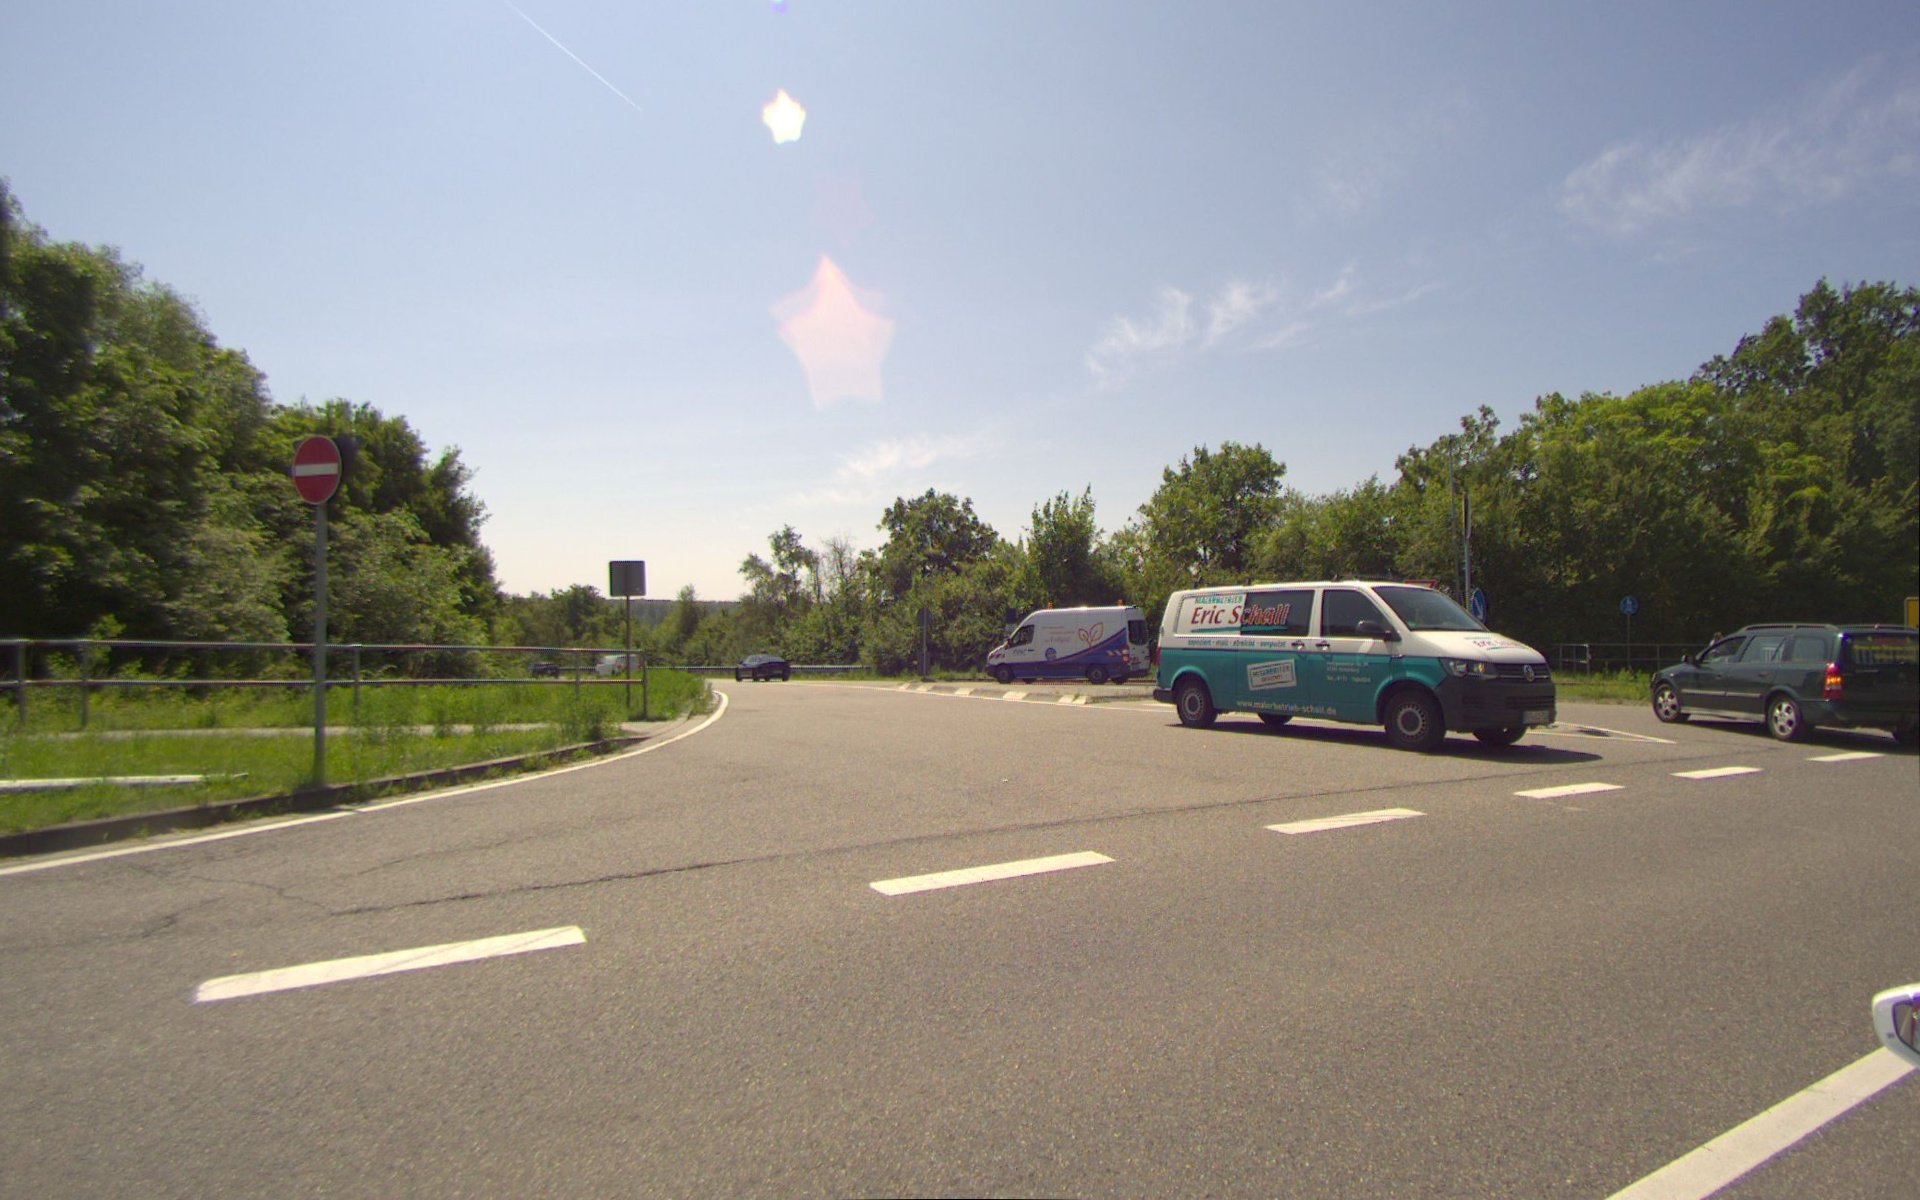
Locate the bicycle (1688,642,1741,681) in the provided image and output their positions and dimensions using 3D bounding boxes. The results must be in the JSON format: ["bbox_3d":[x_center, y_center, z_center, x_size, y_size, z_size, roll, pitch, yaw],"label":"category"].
[{"bbox_3d":[23.401,1.889,31.180,0.428,1.128,1.480,1,-1,-6],"label":"bicycle"}]

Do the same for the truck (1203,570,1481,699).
[{"bbox_3d":[8.631,0.913,23.667,2.116,2.598,6.604,1,-4,-23],"label":"truck"}]

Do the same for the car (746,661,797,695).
[{"bbox_3d":[-9.880,4.092,52.471,1.655,1.683,3.976,1,-4,-26],"label":"car"}]

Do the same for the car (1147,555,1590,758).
[{"bbox_3d":[4.869,0.684,12.921,1.977,2.054,5.146,1,-3,-30],"label":"car"}]

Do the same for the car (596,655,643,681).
[{"bbox_3d":[-27.651,5.559,81.558,1.999,1.948,5.139,1,-4,-39],"label":"car"}]

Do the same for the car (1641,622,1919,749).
[{"bbox_3d":[11.311,1.050,13.751,1.691,1.476,3.800,1,-1,6],"label":"car"}]

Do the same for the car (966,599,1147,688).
[{"bbox_3d":[3.322,1.566,35.102,5.908,2.887,2.107,-3,-3,32],"label":"car"}]

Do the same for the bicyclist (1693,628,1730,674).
[{"bbox_3d":[23.321,1.580,31.166,0.677,1.381,0.608,1,-1,-6],"label":"bicyclist"}]

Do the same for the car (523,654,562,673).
[{"bbox_3d":[-37.353,5.701,89.916,3.874,1.617,1.760,-4,-3,43],"label":"car"}]
